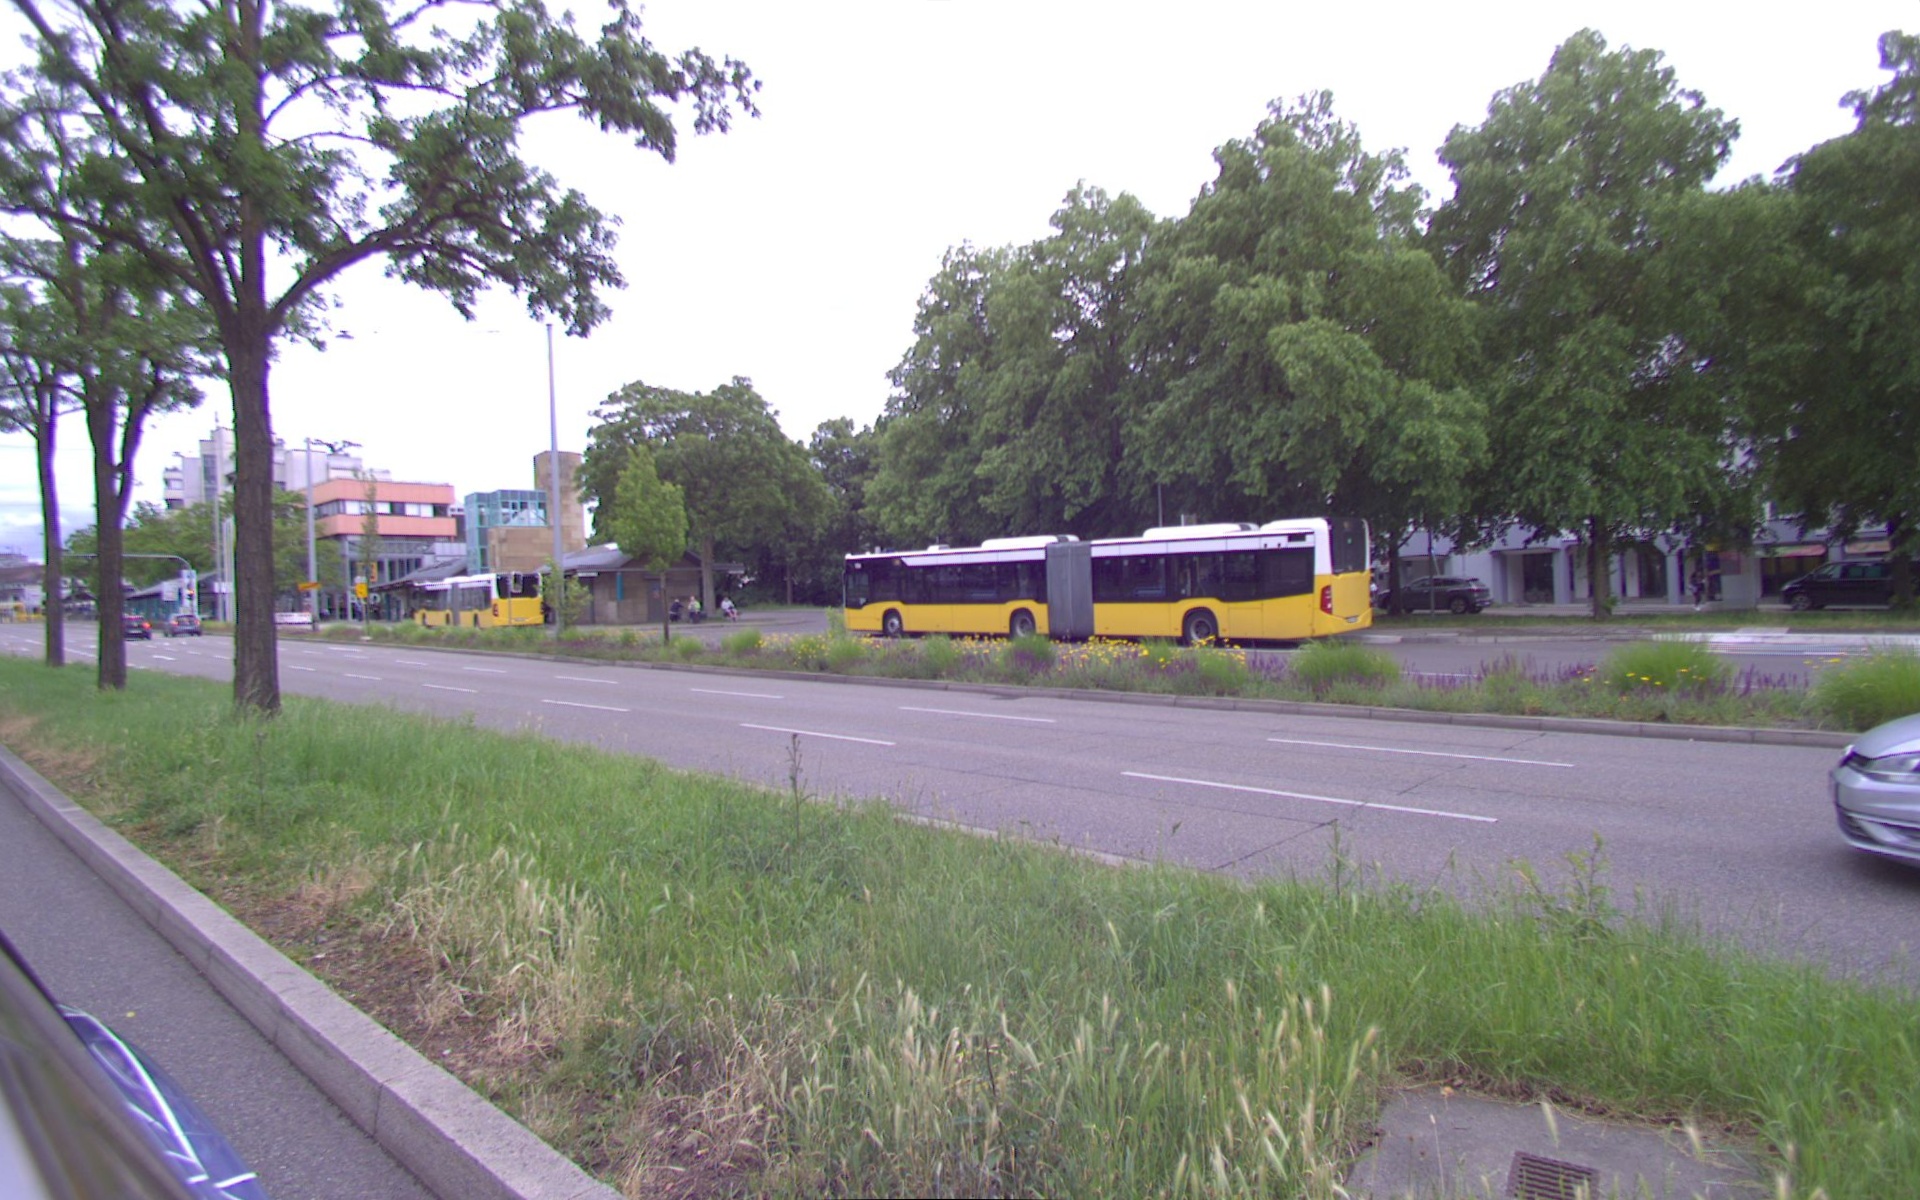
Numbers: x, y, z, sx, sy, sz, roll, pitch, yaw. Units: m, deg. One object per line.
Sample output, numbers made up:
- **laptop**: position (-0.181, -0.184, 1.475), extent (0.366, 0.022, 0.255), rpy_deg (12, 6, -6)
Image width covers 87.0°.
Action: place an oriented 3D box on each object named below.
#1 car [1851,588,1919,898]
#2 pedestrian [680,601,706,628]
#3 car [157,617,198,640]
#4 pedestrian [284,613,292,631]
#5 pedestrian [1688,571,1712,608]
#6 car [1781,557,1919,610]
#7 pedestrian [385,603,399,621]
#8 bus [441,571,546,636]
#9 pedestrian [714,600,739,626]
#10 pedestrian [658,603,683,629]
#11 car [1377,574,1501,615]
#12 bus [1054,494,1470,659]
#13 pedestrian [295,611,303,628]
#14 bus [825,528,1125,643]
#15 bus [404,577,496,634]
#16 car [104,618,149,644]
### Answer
- **car**: position (6.575, 0.624, 4.235), extent (4.129, 1.455, 1.736), rpy_deg (-2, -1, 38)
- **pedestrian**: position (-13.225, 0.734, 50.175), extent (0.888, 1.300, 0.853), rpy_deg (-1, 0, 18)
- **car**: position (-53.831, 1.930, 69.596), extent (1.794, 1.519, 4.004), rpy_deg (-1, 0, -43)
- **pedestrian**: position (-62.202, 2.029, 93.709), extent (0.521, 1.559, 0.756), rpy_deg (-2, 0, -32)
- **pedestrian**: position (31.011, -0.443, 42.420), extent (0.649, 1.559, 0.668), rpy_deg (-1, 0, -40)
- **car**: position (34.416, -0.601, 38.257), extent (1.967, 1.846, 4.829), rpy_deg (-1, 0, -34)
- **pedestrian**: position (-47.897, 0.987, 85.393), extent (0.975, 1.472, 0.593), rpy_deg (-2, 0, -32)
- **bus**: position (-25.552, 0.228, 55.154), extent (2.774, 3.155, 9.316), rpy_deg (-4, 2, -39)
- **pedestrian**: position (-11.728, 0.670, 50.922), extent (0.858, 1.264, 0.883), rpy_deg (-2, 0, 43)
- **pedestrian**: position (-14.801, 0.807, 51.716), extent (0.887, 1.264, 0.854), rpy_deg (-1, 0, 14)
- **car**: position (19.949, -0.212, 42.283), extent (1.970, 1.593, 4.251), rpy_deg (-1, 0, -44)
- **bus**: position (7.229, -0.487, 25.942), extent (2.996, 3.481, 9.918), rpy_deg (-4, 2, -44)
- **pedestrian**: position (-61.576, 1.838, 94.287), extent (0.382, 1.559, 0.479), rpy_deg (-2, 0, 34)
- **bus**: position (0.087, -0.402, 33.424), extent (3.049, 3.186, 10.744), rpy_deg (-5, 3, -44)
- **bus**: position (-31.533, 0.365, 62.305), extent (2.742, 3.155, 9.452), rpy_deg (-4, 2, -41)
- **car**: position (-51.749, 1.900, 62.819), extent (3.768, 1.519, 1.641), rpy_deg (-1, 0, 43)
